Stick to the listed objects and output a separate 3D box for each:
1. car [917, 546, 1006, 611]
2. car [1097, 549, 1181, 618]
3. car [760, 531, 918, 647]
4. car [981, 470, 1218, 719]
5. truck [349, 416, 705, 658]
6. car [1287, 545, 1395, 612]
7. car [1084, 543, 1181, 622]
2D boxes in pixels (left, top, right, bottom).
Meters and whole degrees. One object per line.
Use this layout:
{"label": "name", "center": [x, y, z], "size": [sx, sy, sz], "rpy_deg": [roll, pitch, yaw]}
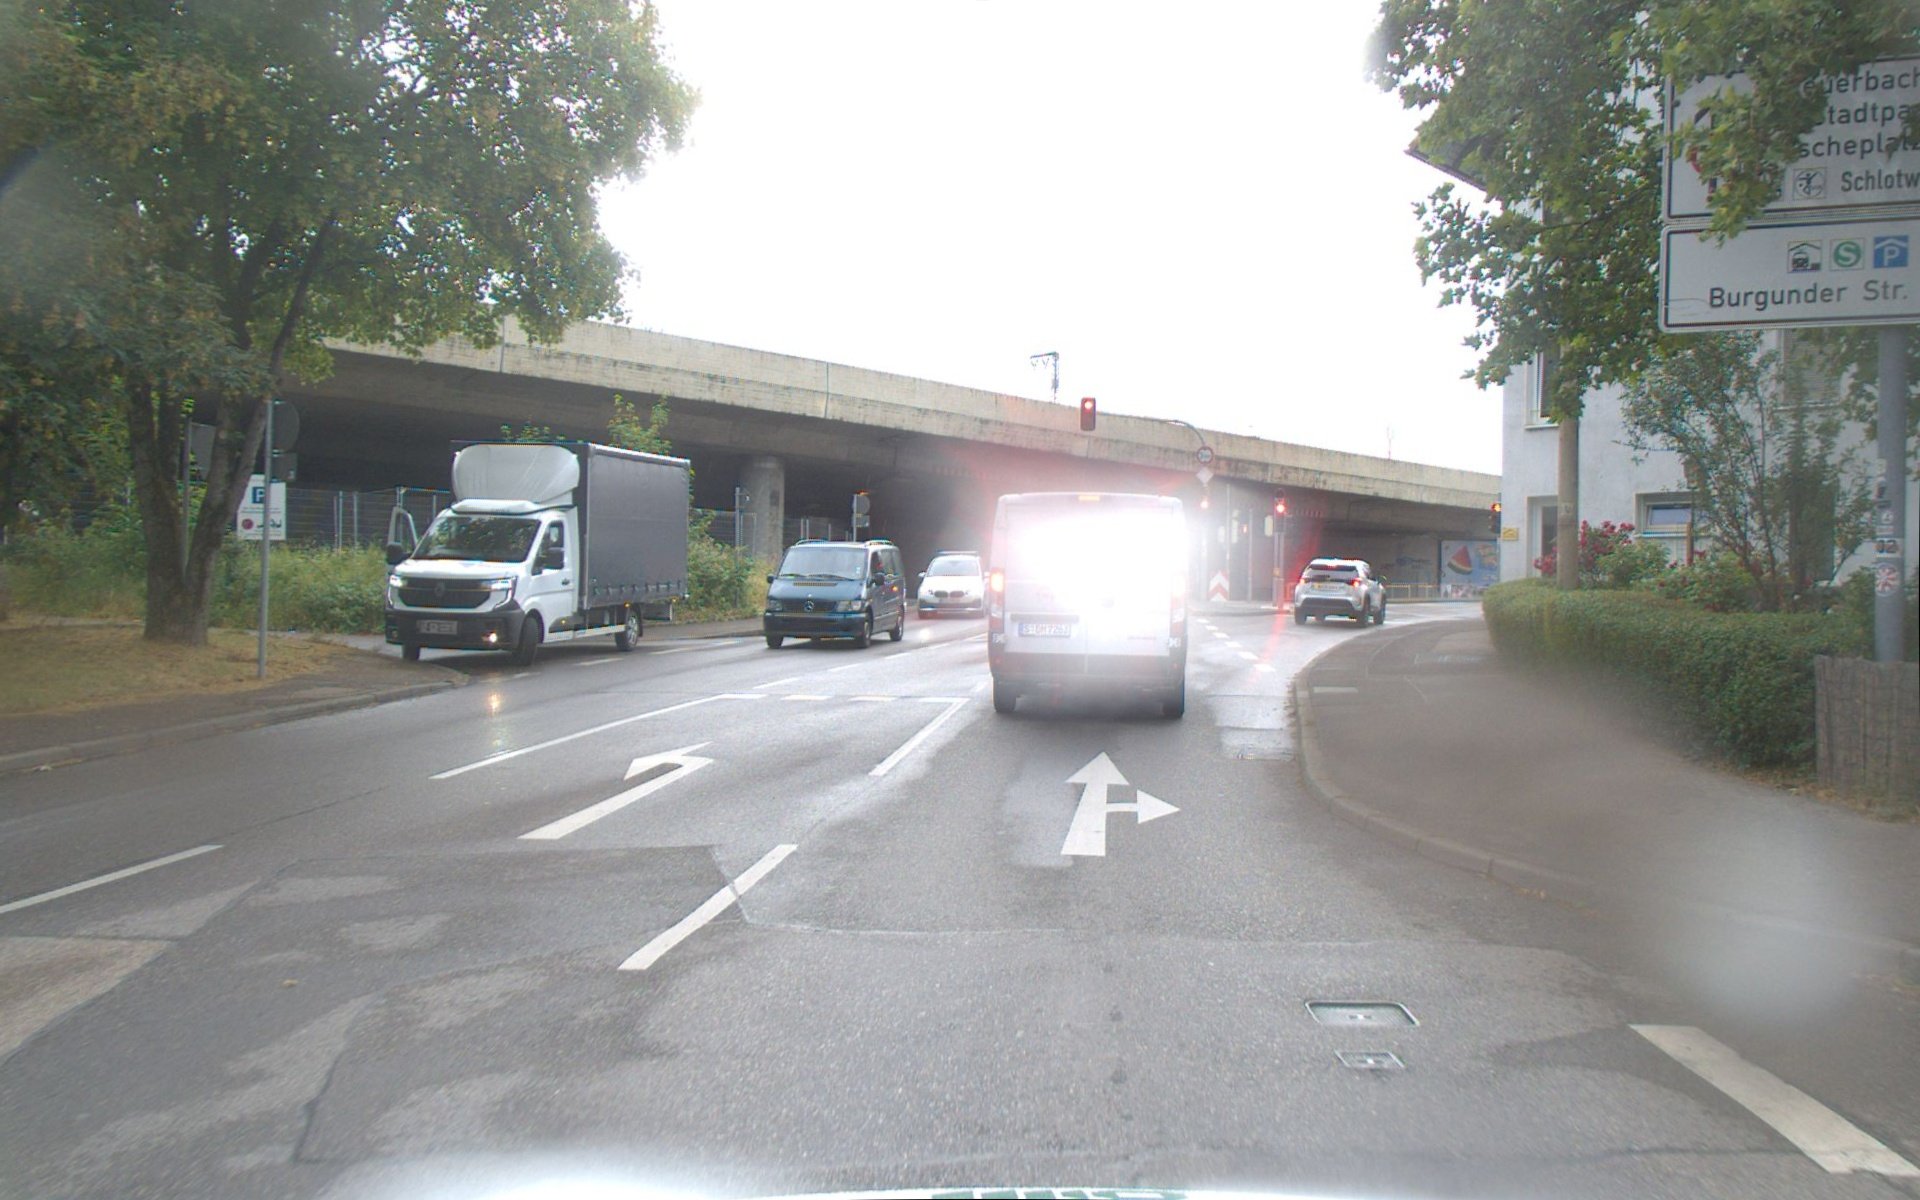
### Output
{"label": "car", "center": [0.093, -0.620, 44.884], "size": [1.792, 1.605, 4.338], "rpy_deg": [2, 2, 8]}
{"label": "car", "center": [4.907, -0.443, 44.902], "size": [1.951, 1.759, 4.004], "rpy_deg": [1, 0, 10]}
{"label": "car", "center": [-2.137, -0.239, 30.609], "size": [1.916, 1.965, 4.688], "rpy_deg": [1, 1, 8]}
{"label": "car", "center": [1.617, -0.125, 18.714], "size": [2.256, 2.384, 5.286], "rpy_deg": [1, 1, 6]}
{"label": "truck", "center": [-6.568, -0.944, 26.574], "size": [2.554, 3.293, 7.783], "rpy_deg": [1, 1, 9]}
{"label": "car", "center": [9.468, -0.518, 40.874], "size": [1.953, 1.576, 3.999], "rpy_deg": [1, 0, 23]}
{"label": "car", "center": [4.142, -0.406, 39.126], "size": [1.951, 1.759, 4.004], "rpy_deg": [1, 0, 10]}
